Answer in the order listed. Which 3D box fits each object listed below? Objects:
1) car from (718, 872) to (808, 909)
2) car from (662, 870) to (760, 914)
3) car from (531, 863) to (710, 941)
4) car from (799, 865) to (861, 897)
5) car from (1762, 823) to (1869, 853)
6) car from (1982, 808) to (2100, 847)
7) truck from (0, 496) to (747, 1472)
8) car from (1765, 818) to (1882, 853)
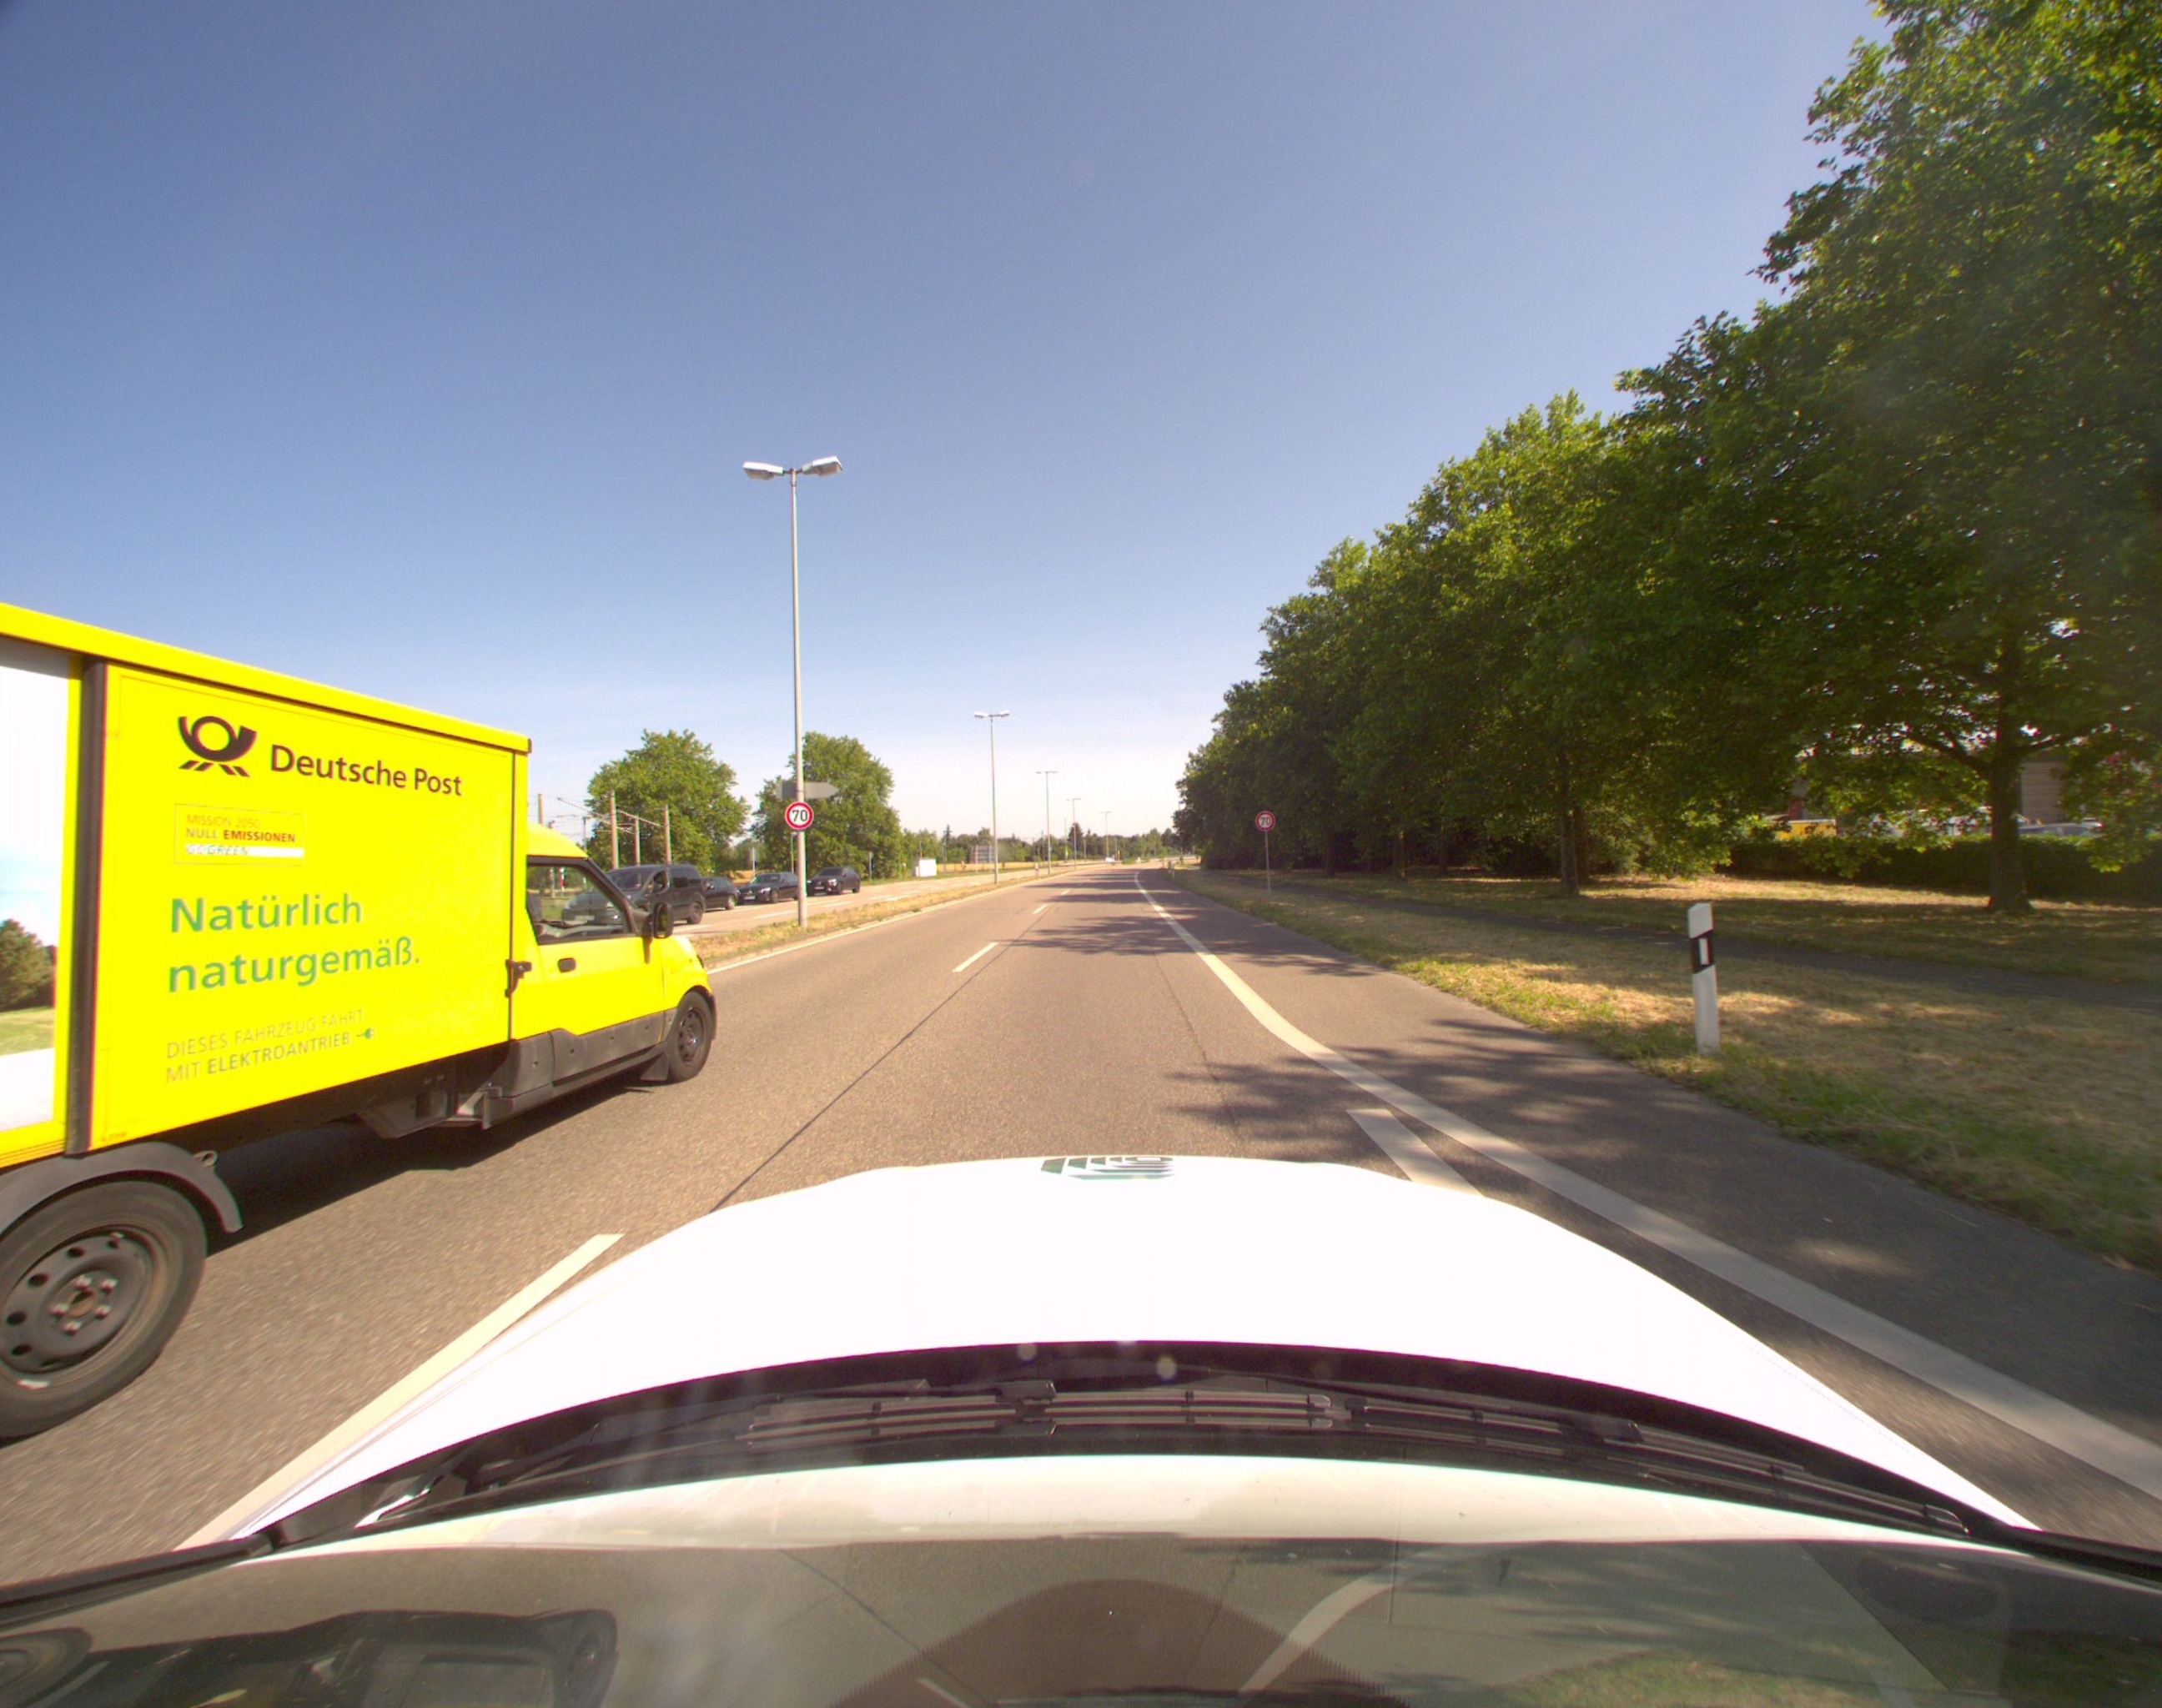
[{"bbox_3d":[-14.966,1.680,38.637,2.061,1.529,4.691,-2,-1,5],"label":"car"},{"bbox_3d":[-15.102,1.520,33.517,1.856,1.545,4.407,-3,-1,1],"label":"car"},{"bbox_3d":[-11.966,1.161,21.587,1.973,1.779,4.492,-2,-1,3],"label":"car"},{"bbox_3d":[-14.444,1.533,47.111,1.974,1.660,4.557,-2,-1,2],"label":"car"},{"bbox_3d":[40.735,-0.855,45.277,3.955,1.585,2.009,-1,-1,18],"label":"car"},{"bbox_3d":[54.822,-1.484,46.580,3.963,2.014,2.005,-2,-1,9],"label":"car"},{"bbox_3d":[-3.778,0.354,3.629,2.105,2.457,5.915,-1,-1,0],"label":"truck"},{"bbox_3d":[38.154,-0.924,41.946,3.959,1.684,2.007,-1,-1,13],"label":"car"}]
